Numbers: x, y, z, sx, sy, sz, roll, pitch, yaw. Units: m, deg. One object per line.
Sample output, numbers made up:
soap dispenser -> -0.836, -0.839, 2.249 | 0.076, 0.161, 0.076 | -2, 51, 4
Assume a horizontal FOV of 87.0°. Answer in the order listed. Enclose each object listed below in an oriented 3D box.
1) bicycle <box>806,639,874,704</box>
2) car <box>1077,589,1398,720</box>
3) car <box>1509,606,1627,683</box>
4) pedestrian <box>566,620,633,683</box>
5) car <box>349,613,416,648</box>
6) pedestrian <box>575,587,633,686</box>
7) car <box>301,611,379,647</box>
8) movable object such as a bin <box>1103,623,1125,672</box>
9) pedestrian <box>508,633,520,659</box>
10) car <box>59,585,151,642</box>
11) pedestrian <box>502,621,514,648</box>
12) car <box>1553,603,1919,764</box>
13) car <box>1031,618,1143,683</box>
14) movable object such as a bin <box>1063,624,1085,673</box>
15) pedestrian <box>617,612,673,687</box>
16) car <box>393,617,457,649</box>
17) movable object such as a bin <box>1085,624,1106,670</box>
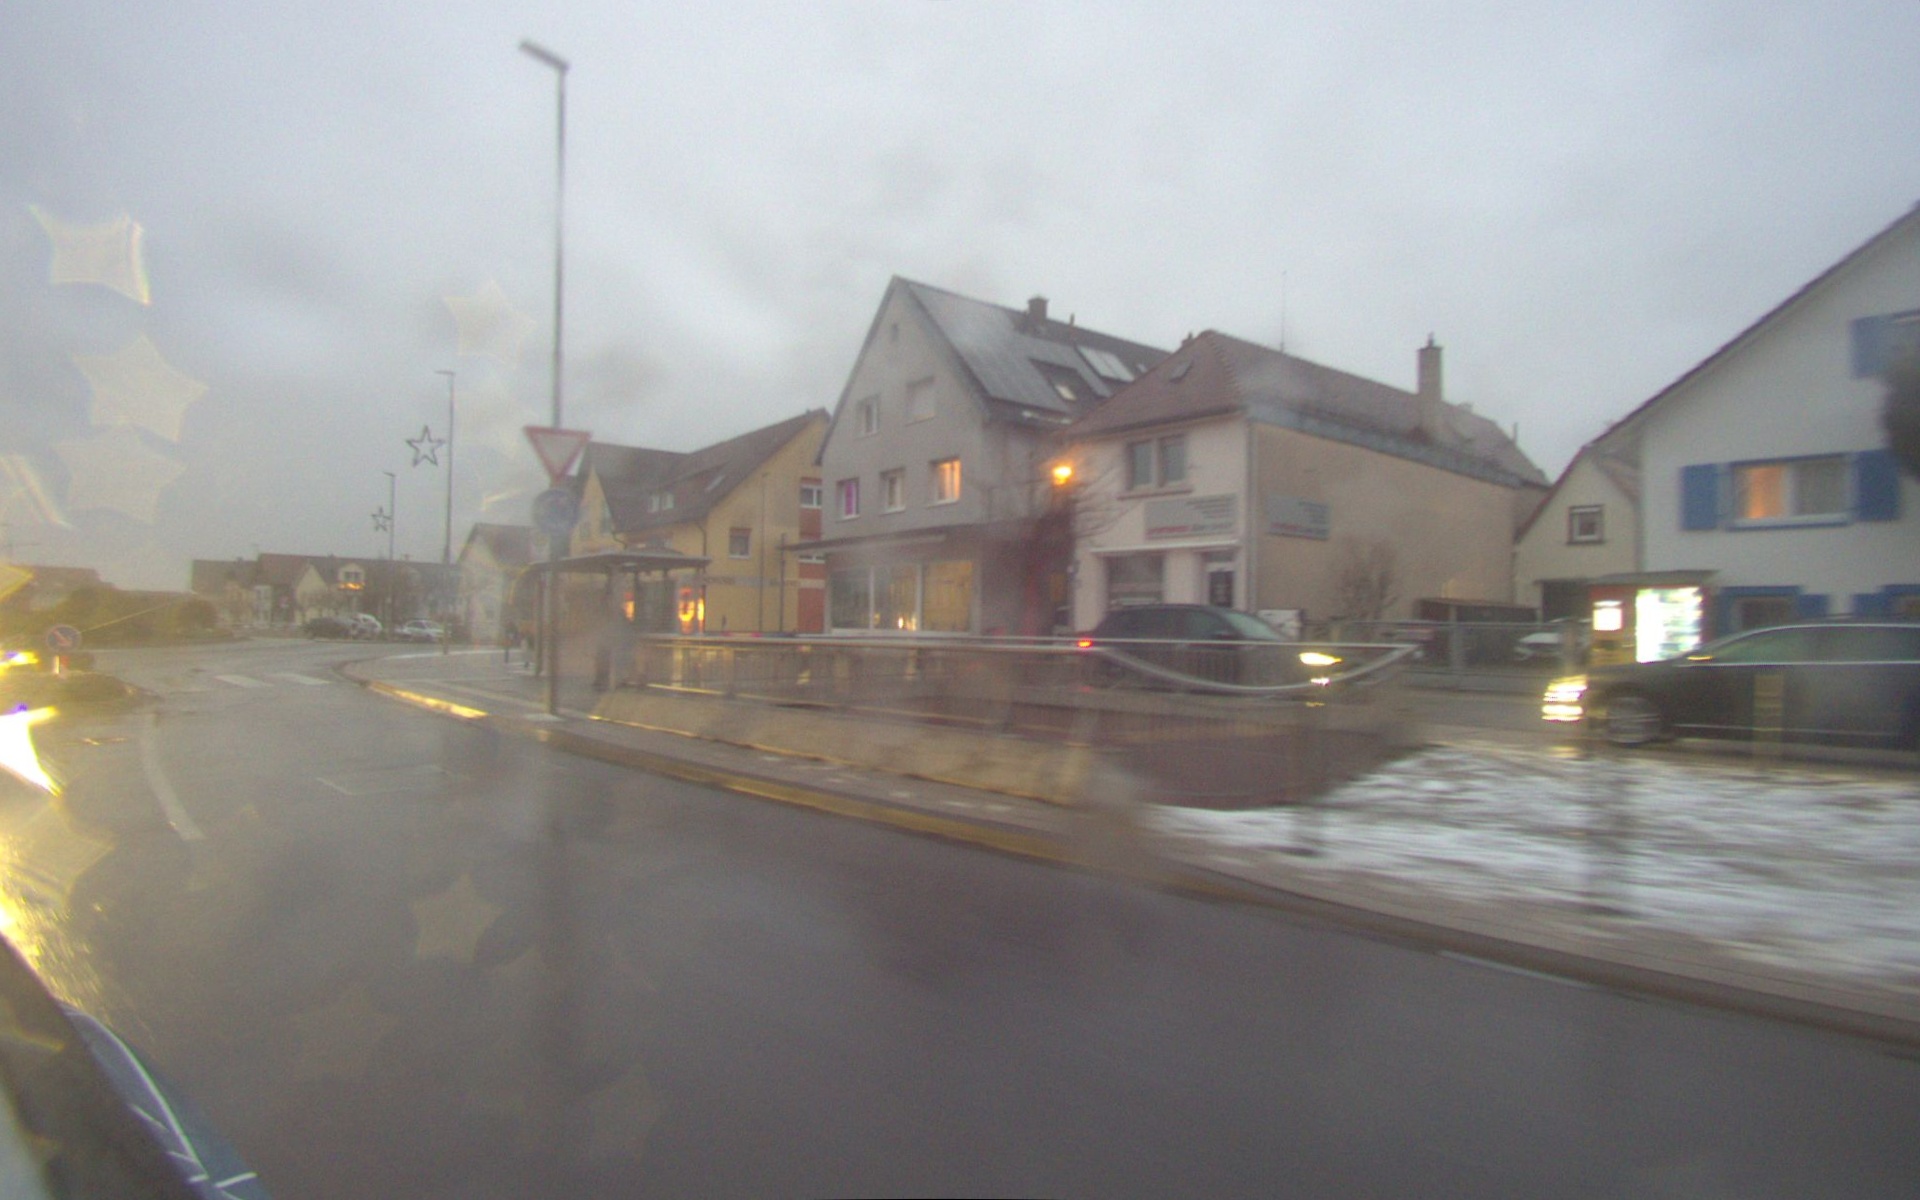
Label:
bicycle -> -2.081, 1.199, 17.321 | 0.463, 1.017, 1.744 | 1, -1, -31
car -> 4.106, 0.817, 15.601 | 1.733, 1.714, 4.570 | 4, -4, -42
car -> 17.369, 1.303, 28.861 | 3.526, 2.034, 1.840 | 4, -4, -40
pedestrian -> -6.988, 0.992, 19.600 | 0.976, 1.167, 0.903 | 0, -2, -39
car -> -36.663, 1.915, 64.265 | 3.954, 2.029, 1.907 | 1, 1, 29
pedestrian -> -6.482, 0.653, 18.438 | 0.687, 1.755, 0.740 | -2, -1, 42
car -> -37.934, 1.736, 61.937 | 3.964, 2.010, 1.962 | 1, 1, 16
movable object such as a bin -> 3.785, 1.163, 24.859 | 0.284, 1.151, 0.454 | -1, 2, -43
pedestrian -> -28.471, 2.926, 64.629 | 0.574, 1.623, 0.501 | -1, 2, -44
car -> -33.303, 0.460, 39.540 | 2.024, 2.001, 4.551 | 0, 2, -31
pedestrian -> -27.449, 2.075, 61.475 | 0.574, 1.623, 0.501 | -1, 2, -44
car -> 9.014, 0.821, 10.559 | 4.573, 1.494, 1.782 | -2, -3, 44
car -> 3.911, 1.492, 31.031 | 3.373, 1.867, 1.516 | 1, -1, -40
movable object such as a bin -> 2.911, 1.226, 25.850 | 0.284, 1.219, 0.454 | -1, 2, -43
pedestrian -> -5.648, 0.874, 18.128 | 0.677, 1.281, 0.751 | -1, -1, -44
car -> -35.151, 2.152, 66.446 | 3.855, 1.895, 1.917 | 1, 1, 29
movable object such as a bin -> 3.388, 1.167, 25.306 | 0.284, 1.129, 0.454 | -1, 2, -43
